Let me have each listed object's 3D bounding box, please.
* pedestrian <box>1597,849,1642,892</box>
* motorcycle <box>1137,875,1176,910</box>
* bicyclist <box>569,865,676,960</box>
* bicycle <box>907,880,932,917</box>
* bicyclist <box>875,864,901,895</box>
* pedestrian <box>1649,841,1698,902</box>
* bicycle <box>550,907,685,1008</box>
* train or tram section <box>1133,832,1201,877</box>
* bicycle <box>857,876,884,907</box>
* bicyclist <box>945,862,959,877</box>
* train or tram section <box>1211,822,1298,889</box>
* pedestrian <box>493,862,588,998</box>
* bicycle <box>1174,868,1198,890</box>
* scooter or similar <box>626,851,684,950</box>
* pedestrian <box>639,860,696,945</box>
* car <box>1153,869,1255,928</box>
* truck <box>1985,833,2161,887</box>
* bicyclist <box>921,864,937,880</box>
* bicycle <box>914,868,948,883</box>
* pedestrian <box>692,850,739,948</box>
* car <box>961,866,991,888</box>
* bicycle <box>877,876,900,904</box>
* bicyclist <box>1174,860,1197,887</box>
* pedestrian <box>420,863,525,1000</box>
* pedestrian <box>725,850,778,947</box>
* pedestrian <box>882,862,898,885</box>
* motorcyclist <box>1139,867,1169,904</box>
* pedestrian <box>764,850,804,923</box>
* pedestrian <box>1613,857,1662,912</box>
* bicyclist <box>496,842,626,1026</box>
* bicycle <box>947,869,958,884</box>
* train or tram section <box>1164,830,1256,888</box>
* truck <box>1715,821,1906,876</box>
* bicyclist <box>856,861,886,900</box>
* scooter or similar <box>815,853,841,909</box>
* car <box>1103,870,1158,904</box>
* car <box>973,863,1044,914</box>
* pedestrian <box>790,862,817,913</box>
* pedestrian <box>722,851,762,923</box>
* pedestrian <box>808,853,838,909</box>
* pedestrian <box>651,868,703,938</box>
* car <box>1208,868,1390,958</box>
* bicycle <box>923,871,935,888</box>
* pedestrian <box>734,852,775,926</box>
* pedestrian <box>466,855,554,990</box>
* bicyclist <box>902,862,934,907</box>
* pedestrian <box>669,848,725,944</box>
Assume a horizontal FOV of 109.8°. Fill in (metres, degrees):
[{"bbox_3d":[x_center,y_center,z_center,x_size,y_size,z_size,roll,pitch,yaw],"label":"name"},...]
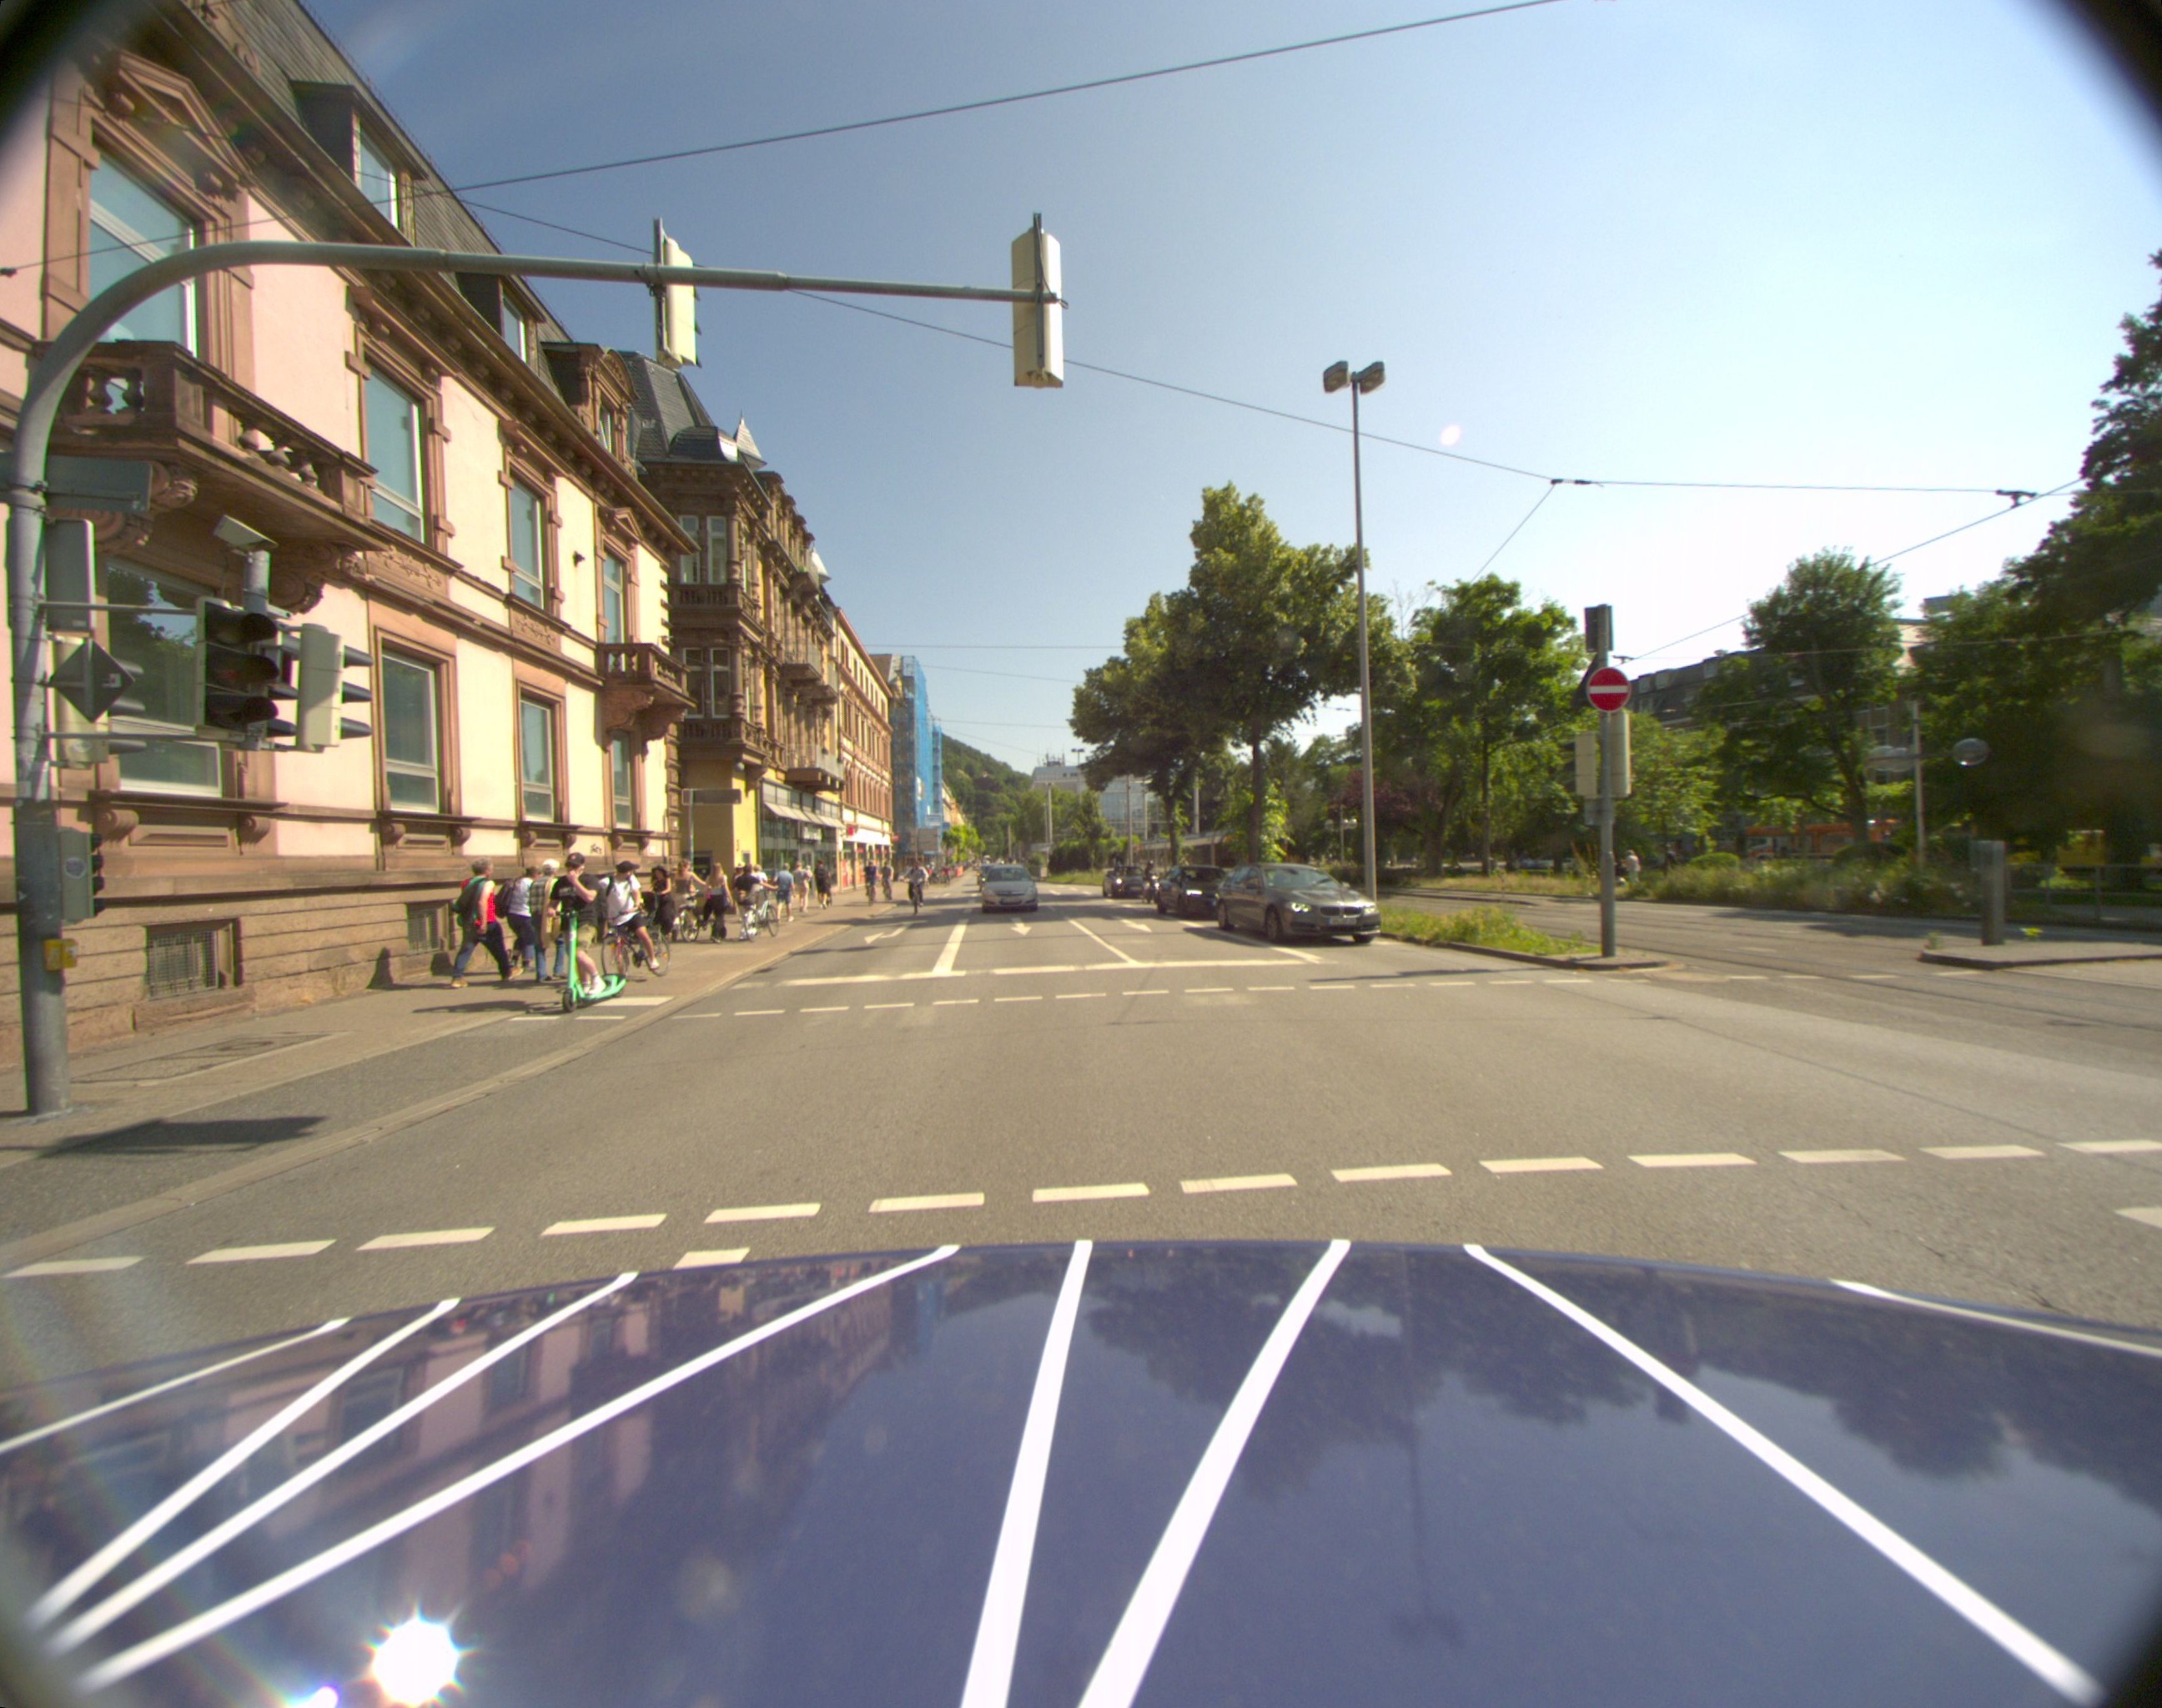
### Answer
[{"bbox_3d":[20.696,0.615,29.216,1.039,1.610,0.934,-1,0,0],"label":"pedestrian"},{"bbox_3d":[2.747,1.391,28.086,0.903,1.156,2.351,-1,0,-8],"label":"motorcycle"},{"bbox_3d":[-6.219,0.759,10.363,0.924,1.212,0.971,-1,0,-8],"label":"bicyclist"},{"bbox_3d":[-5.179,1.394,24.432,0.644,1.076,2.494,-1,0,-9],"label":"bicycle"},{"bbox_3d":[-8.010,1.055,31.626,0.913,1.227,1.232,-1,0,-8],"label":"bicyclist"},{"bbox_3d":[21.317,0.633,27.342,1.126,2.138,0.802,-1,0,-1],"label":"pedestrian"},{"bbox_3d":[-6.224,1.342,10.355,0.781,1.096,2.137,1,-1,-8],"label":"bicycle"},{"bbox_3d":[6.913,0.070,63.420,2.768,3.383,12.404,-1,0,-7],"label":"train or tram section"},{"bbox_3d":[-8.069,1.417,29.165,0.644,1.076,2.495,-1,0,-8],"label":"bicycle"},{"bbox_3d":[-9.467,1.162,55.776,0.913,1.076,1.232,-1,0,-8],"label":"bicyclist"},{"bbox_3d":[9.408,0.097,41.964,2.769,3.383,5.883,-1,0,-8],"label":"train or tram section"},{"bbox_3d":[-7.358,0.999,10.388,0.707,1.758,0.902,-1,0,-9],"label":"pedestrian"},{"bbox_3d":[5.678,1.330,41.161,0.644,1.076,2.494,-2,0,-8],"label":"bicycle"},{"bbox_3d":[-8.962,0.954,16.016,0.694,2.002,1.095,-1,0,-8],"label":"scooter or similar"},{"bbox_3d":[-8.966,1.041,16.512,0.814,1.782,0.815,1,0,-8],"label":"pedestrian"},{"bbox_3d":[3.309,1.160,21.168,1.798,1.403,3.998,-1,0,-6],"label":"car"},{"bbox_3d":[64.319,0.384,48.899,2.467,3.196,7.646,-1,0,-12],"label":"truck"},{"bbox_3d":[-10.060,1.181,50.362,0.913,1.062,1.232,-1,0,-8],"label":"bicyclist"},{"bbox_3d":[-11.544,1.671,58.489,2.495,1.076,0.643,-1,0,-3],"label":"bicycle"},{"bbox_3d":[-7.636,0.933,15.884,0.662,2.002,0.699,1,0,-8],"label":"pedestrian"},{"bbox_3d":[-7.865,1.700,57.157,1.999,1.564,3.999,-3,-1,-5],"label":"car"},{"bbox_3d":[-8.016,1.487,31.687,0.644,1.076,2.495,-1,0,-8],"label":"bicycle"},{"bbox_3d":[5.671,1.047,41.231,0.913,1.385,1.232,-1,0,-8],"label":"bicyclist"},{"bbox_3d":[-8.218,1.011,10.309,0.707,1.743,0.902,-1,1,-9],"label":"pedestrian"},{"bbox_3d":[-7.028,0.930,16.244,0.814,2.002,0.815,1,0,-8],"label":"pedestrian"},{"bbox_3d":[-13.620,1.380,54.197,0.913,1.591,1.232,-1,0,-8],"label":"pedestrian"},{"bbox_3d":[2.707,1.164,28.341,0.903,1.350,0.992,-1,0,-8],"label":"motorcyclist"},{"bbox_3d":[-8.278,0.897,21.211,0.814,2.002,0.815,1,0,-8],"label":"pedestrian"},{"bbox_3d":[20.681,1.115,28.255,1.225,2.002,0.802,-1,0,-1],"label":"pedestrian"},{"bbox_3d":[-5.973,0.882,8.783,0.944,2.002,0.829,-1,0,-8],"label":"bicyclist"},{"bbox_3d":[-9.442,1.655,55.912,0.644,1.076,2.495,-1,0,-8],"label":"bicycle"},{"bbox_3d":[8.293,0.324,51.002,2.768,3.383,12.405,-1,0,-6],"label":"train or tram section"},{"bbox_3d":[62.042,-0.372,65.330,3.633,4.237,11.800,-1,0,-13],"label":"truck"},{"bbox_3d":[-8.023,0.988,29.065,0.913,1.428,1.232,-1,0,-8],"label":"bicyclist"},{"bbox_3d":[-9.406,0.990,28.301,0.694,2.002,1.095,-1,0,-8],"label":"scooter or similar"},{"bbox_3d":[2.084,1.370,32.863,1.638,1.300,3.912,-1,0,-8],"label":"car"},{"bbox_3d":[-2.455,1.051,24.861,1.804,1.492,4.493,-1,0,-12],"label":"car"},{"bbox_3d":[-9.335,1.124,25.576,0.707,1.685,0.628,-1,1,-4],"label":"pedestrian"},{"bbox_3d":[-9.708,0.940,21.791,0.814,2.002,0.815,1,0,-8],"label":"pedestrian"},{"bbox_3d":[-9.275,0.966,27.343,0.814,2.002,0.815,1,0,-8],"label":"pedestrian"},{"bbox_3d":[-9.451,1.134,17.815,0.814,1.593,0.815,1,0,-8],"label":"pedestrian"},{"bbox_3d":[4.053,1.034,15.078,1.753,1.477,4.745,0,-1,-7],"label":"car"},{"bbox_3d":[-10.055,1.654,50.318,0.644,1.076,2.495,-1,0,-8],"label":"bicycle"},{"bbox_3d":[-9.064,0.965,21.115,0.814,2.002,0.815,1,0,-8],"label":"pedestrian"},{"bbox_3d":[-8.421,0.976,11.245,0.636,1.880,0.902,-2,0,-9],"label":"pedestrian"},{"bbox_3d":[-5.229,0.951,24.439,0.913,1.385,1.232,-1,0,-8],"label":"bicyclist"},{"bbox_3d":[-8.254,0.893,16.385,0.814,2.002,0.815,1,0,-8],"label":"pedestrian"}]
